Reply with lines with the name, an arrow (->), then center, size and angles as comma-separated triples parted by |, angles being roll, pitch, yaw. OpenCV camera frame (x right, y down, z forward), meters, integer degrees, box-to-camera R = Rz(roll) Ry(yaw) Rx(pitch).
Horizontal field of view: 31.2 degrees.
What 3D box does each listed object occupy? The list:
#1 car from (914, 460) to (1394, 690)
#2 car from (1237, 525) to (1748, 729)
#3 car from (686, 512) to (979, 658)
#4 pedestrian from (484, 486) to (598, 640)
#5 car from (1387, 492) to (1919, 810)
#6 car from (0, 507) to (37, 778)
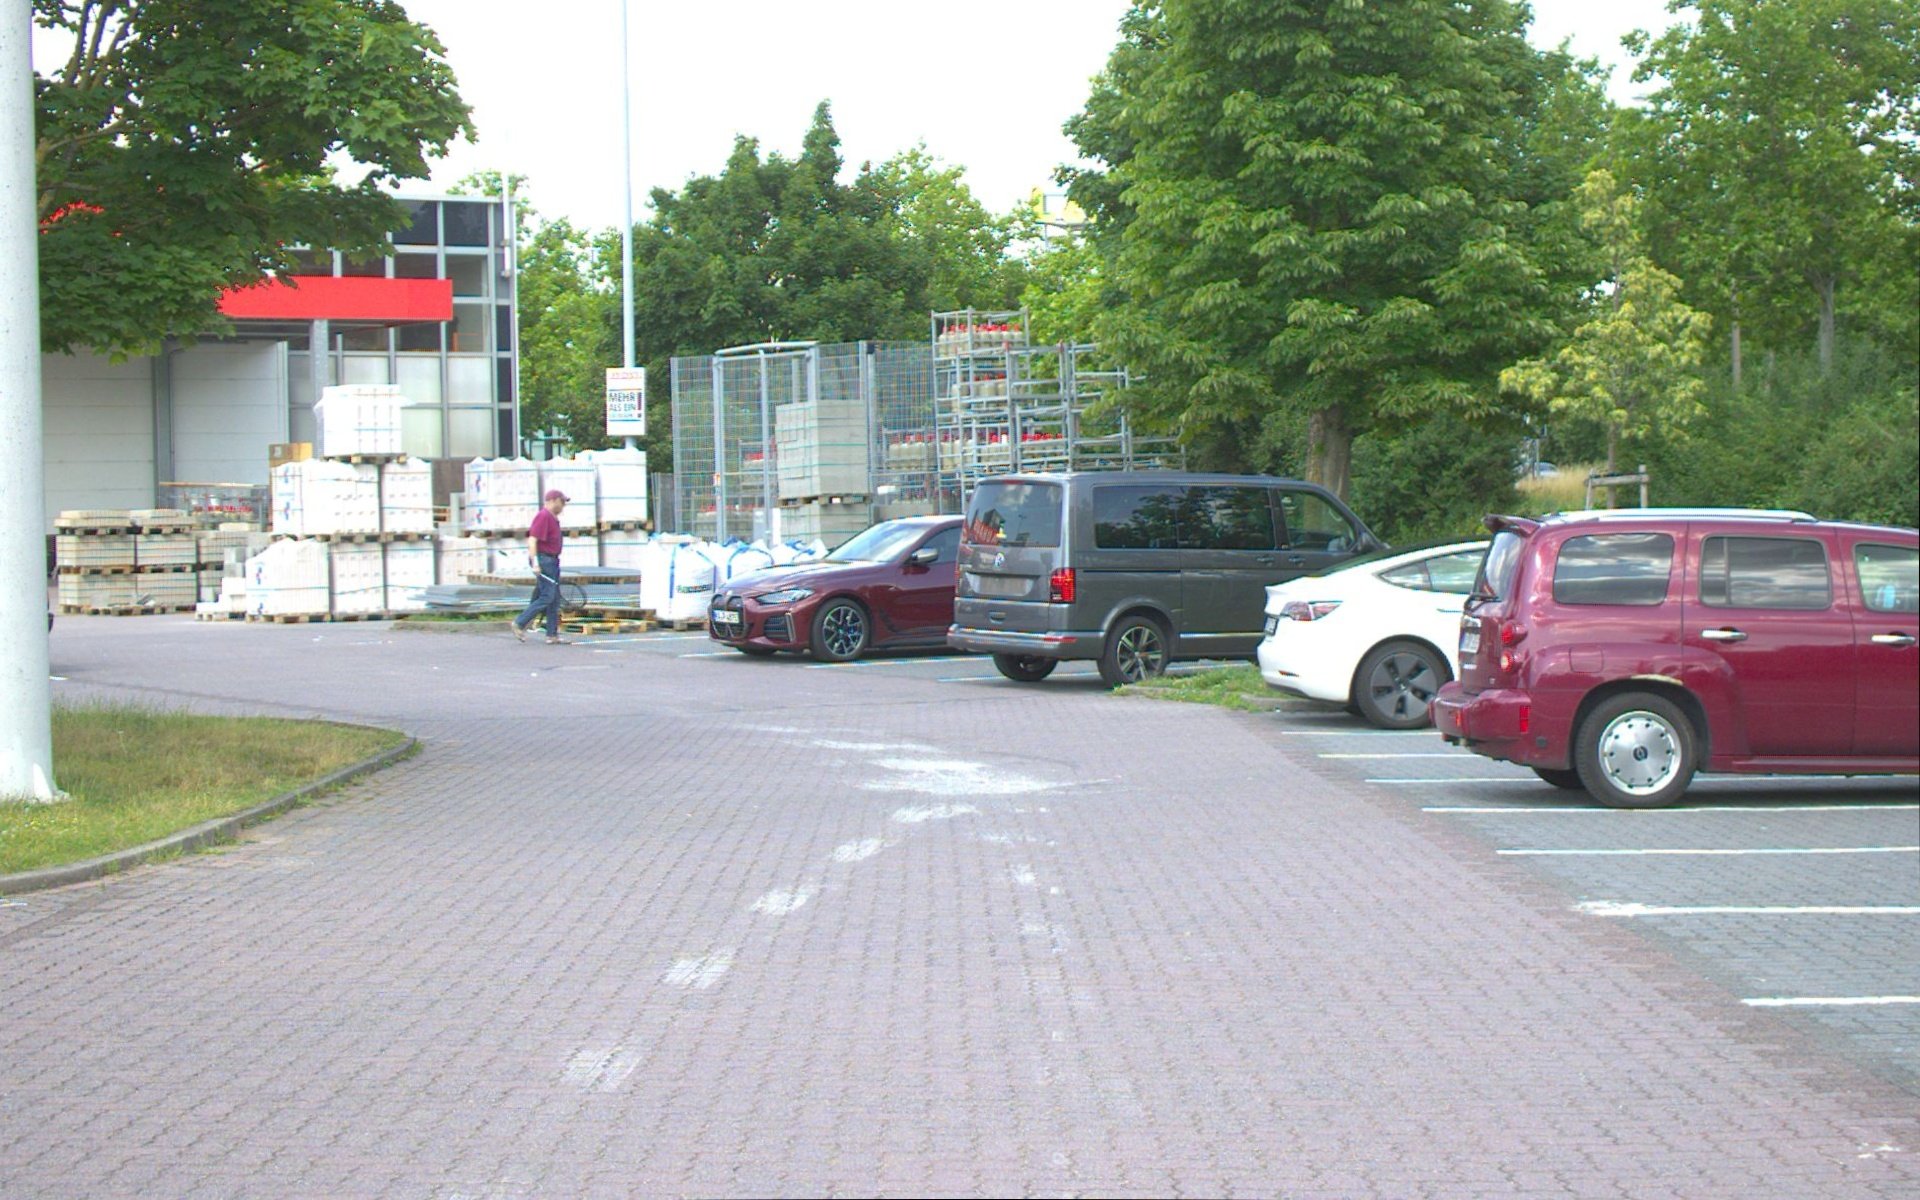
car -> 1.815, -0.222, 31.914 | 4.044, 2.012, 1.947 | 0, 0, -31
car -> 4.032, 0.202, 26.401 | 3.632, 1.463, 1.634 | -1, 0, -1
car -> -1.315, -0.139, 35.531 | 2.680, 1.427, 1.355 | 1, -1, -27
pedestrian -> -4.615, -0.410, 37.874 | 0.920, 1.660, 0.783 | -1, 1, 27
car -> 4.657, 0.219, 18.909 | 4.306, 1.590, 2.000 | -1, 1, -1
car -> -7.374, 0.259, 21.905 | 1.993, 1.612, 4.000 | -2, 2, -28
